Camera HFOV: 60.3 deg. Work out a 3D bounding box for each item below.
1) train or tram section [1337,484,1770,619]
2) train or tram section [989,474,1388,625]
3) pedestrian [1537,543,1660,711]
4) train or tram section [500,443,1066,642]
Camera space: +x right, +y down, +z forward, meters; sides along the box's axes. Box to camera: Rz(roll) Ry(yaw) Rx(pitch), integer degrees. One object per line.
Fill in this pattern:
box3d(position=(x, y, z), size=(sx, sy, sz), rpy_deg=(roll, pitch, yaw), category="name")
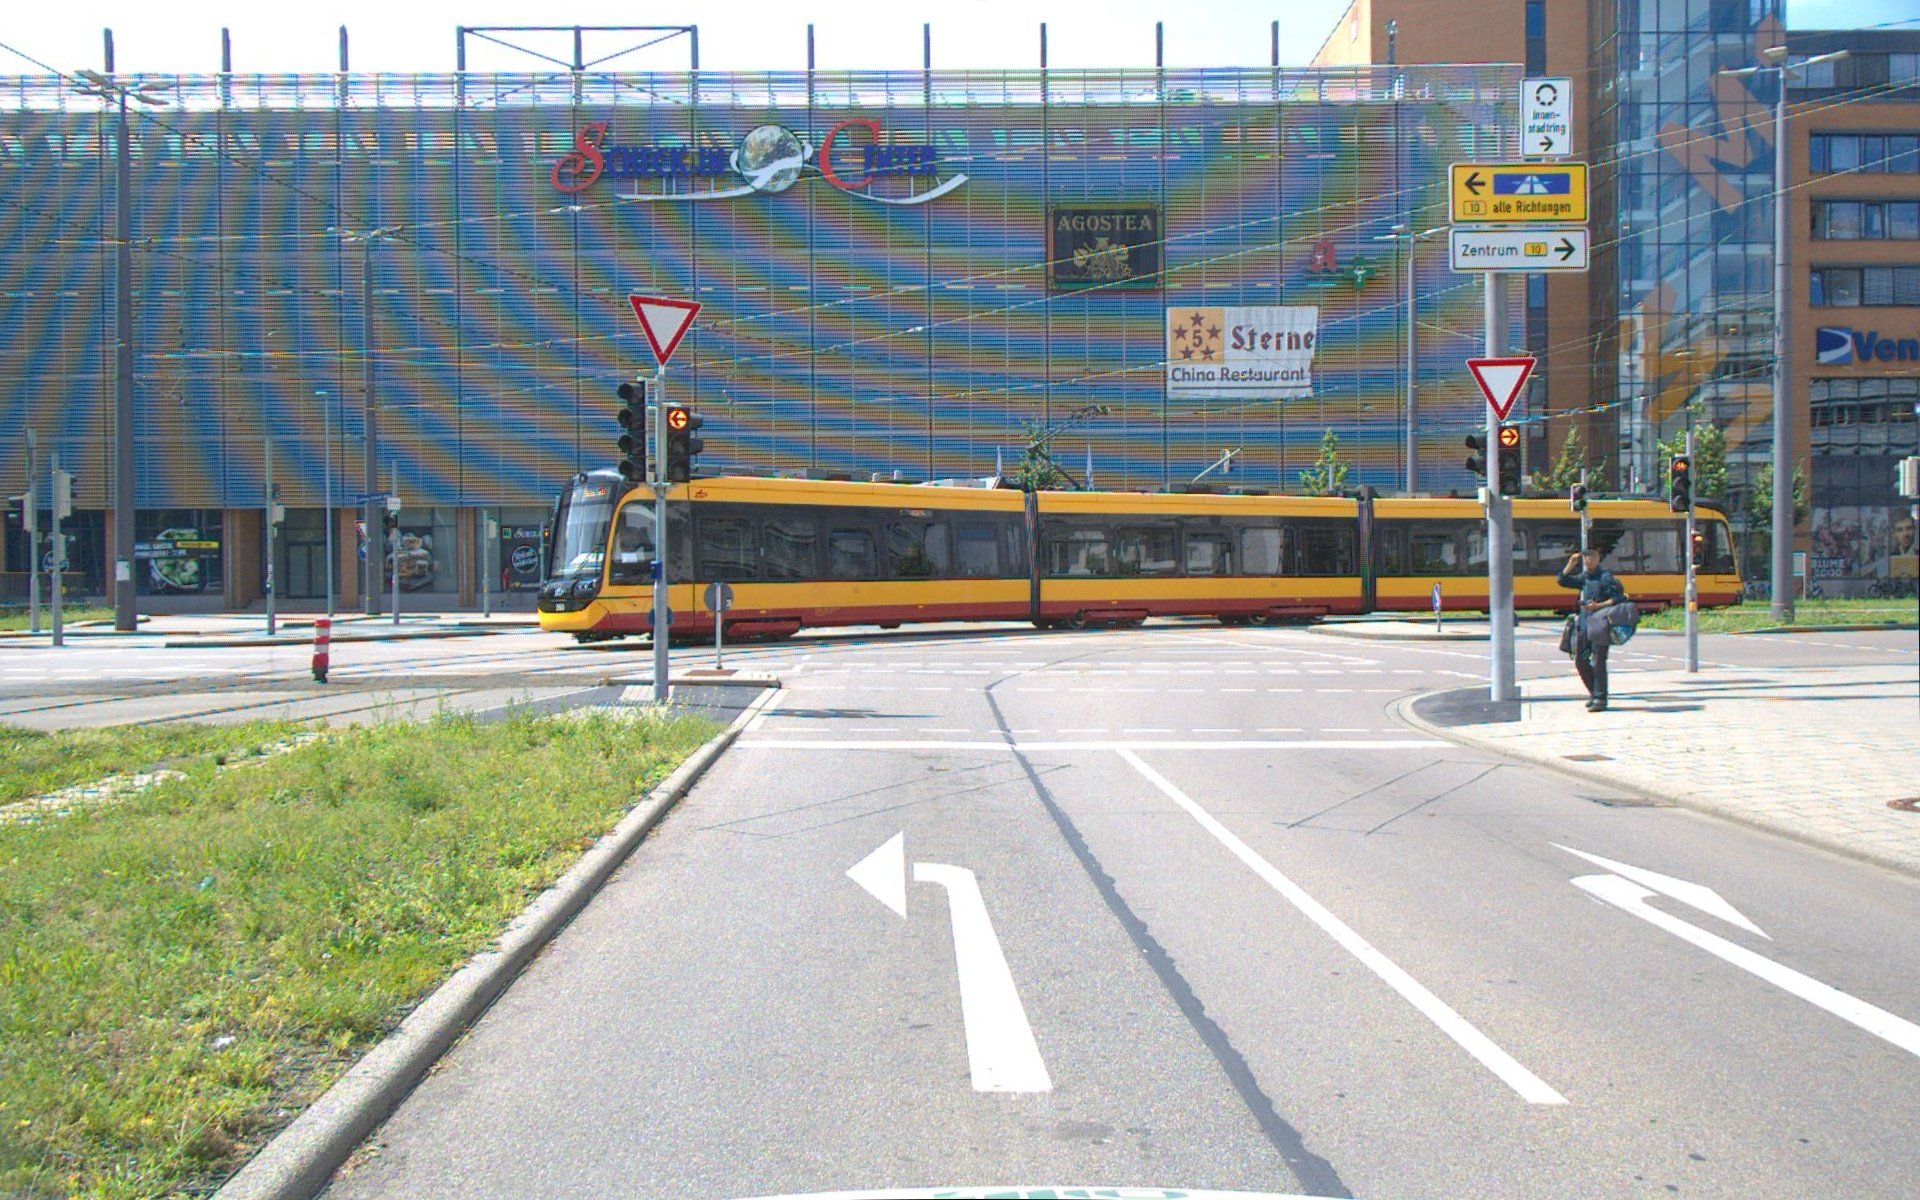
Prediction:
box3d(position=(17.342, -1.350, 48.302), size=(12.384, 3.684, 3.053), rpy_deg=(0, 1, -15), category="train or tram section")
box3d(position=(6.233, -1.272, 44.034), size=(10.830, 3.666, 3.038), rpy_deg=(0, 1, -28), category="train or tram section")
box3d(position=(6.840, 0.270, 17.736), size=(0.797, 1.732, 0.910), rpy_deg=(-2, 0, -29), category="pedestrian")
box3d(position=(-3.272, -1.152, 36.347), size=(3.173, 3.662, 13.402), rpy_deg=(2, 2, 45), category="train or tram section")
